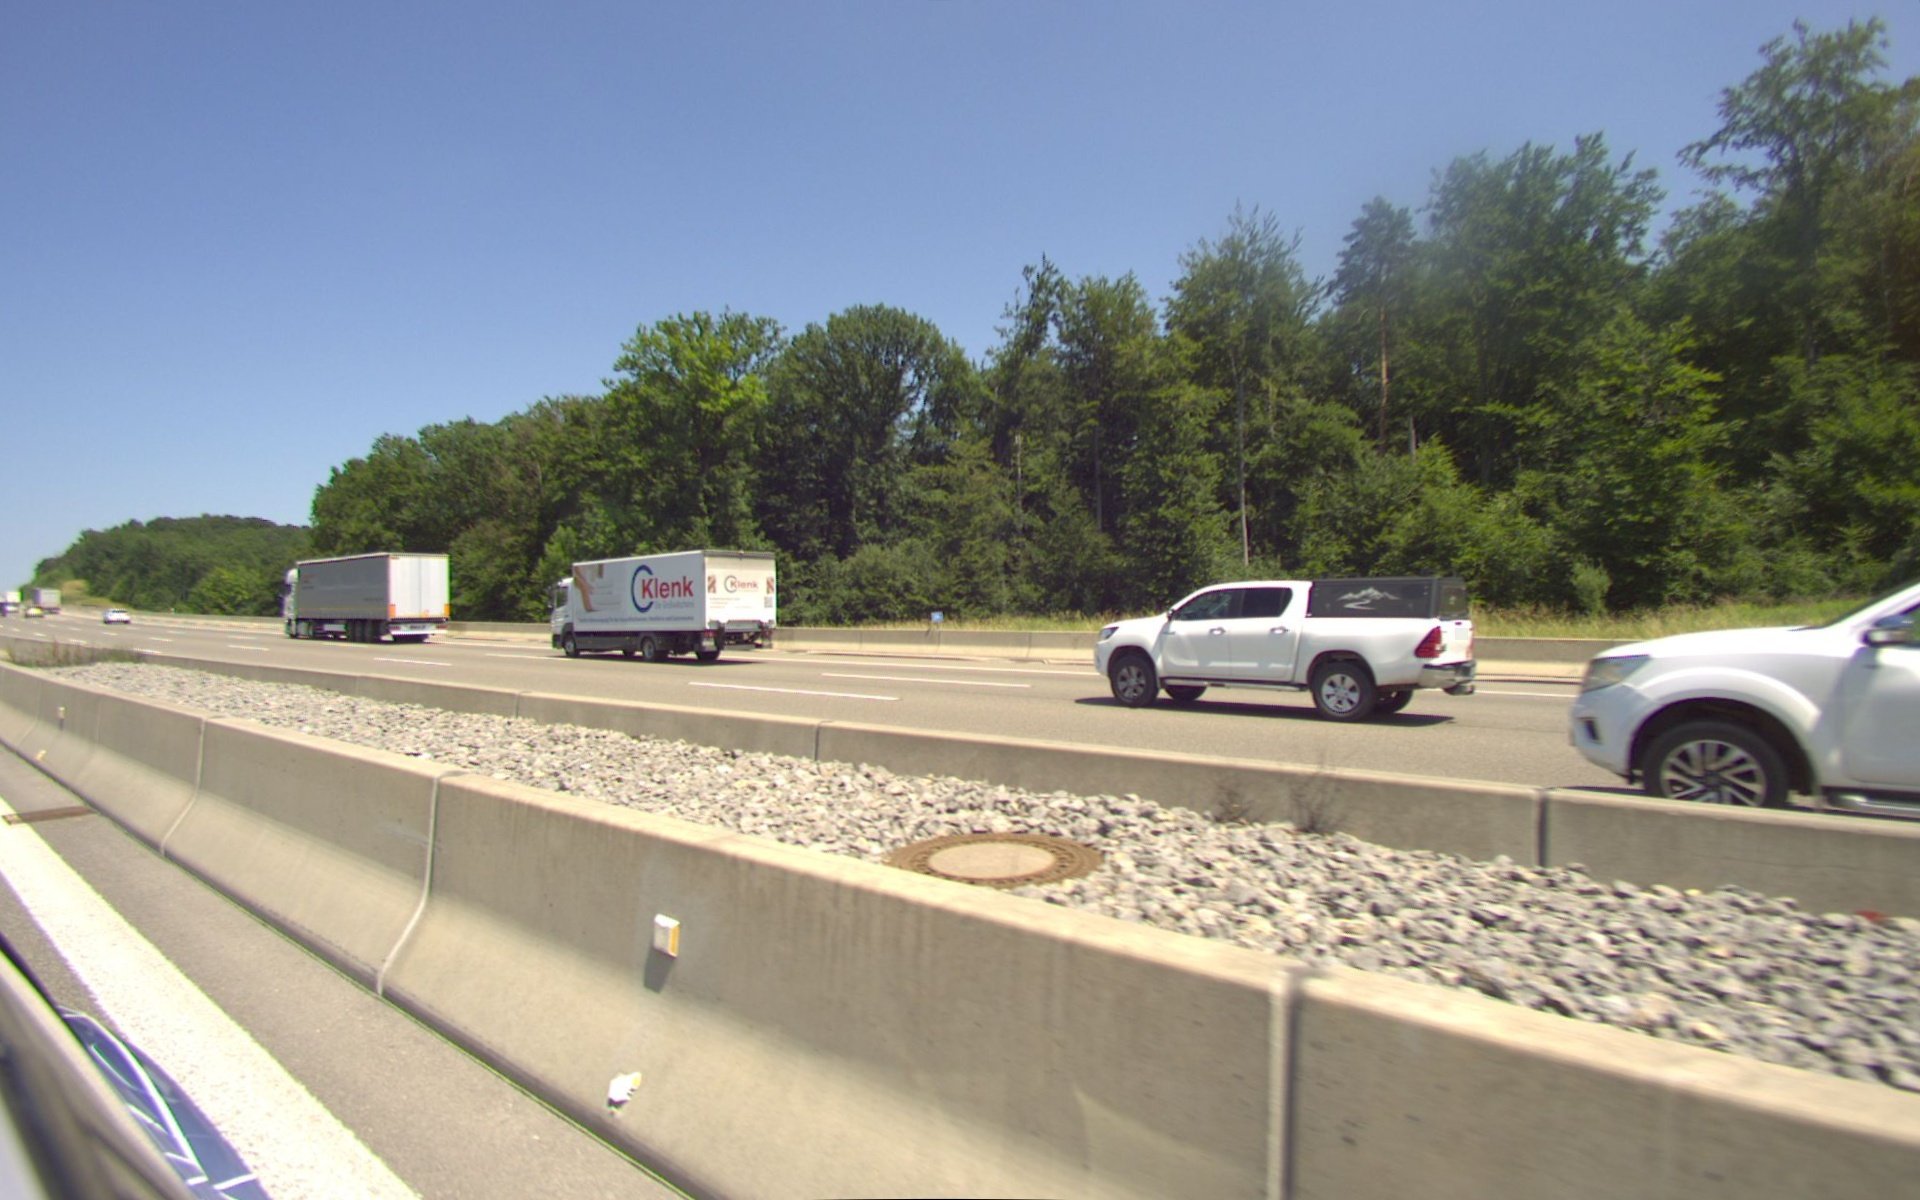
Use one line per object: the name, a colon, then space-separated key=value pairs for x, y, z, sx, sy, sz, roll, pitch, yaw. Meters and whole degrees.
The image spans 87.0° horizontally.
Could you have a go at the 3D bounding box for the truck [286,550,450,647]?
truck: x=-29.429 y=0.020 z=49.767 sx=14.505 sy=4.209 sz=2.728 roll=-1 pitch=0 yaw=42

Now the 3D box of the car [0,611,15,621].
car: x=-155.701 y=2.636 z=165.142 sx=4.136 sy=1.546 sz=1.852 roll=0 pitch=2 yaw=43

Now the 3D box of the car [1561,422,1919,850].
car: x=6.712 y=0.170 z=5.394 sx=5.762 sy=2.306 sz=1.973 roll=-1 pitch=-1 yaw=41

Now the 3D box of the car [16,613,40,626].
car: x=-118.093 y=2.508 z=128.244 sx=4.813 sy=1.546 sz=1.852 roll=0 pitch=0 yaw=43

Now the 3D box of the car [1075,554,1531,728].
car: x=4.548 y=0.499 z=14.190 sx=5.735 sy=1.985 sz=1.973 roll=-1 pitch=0 yaw=41

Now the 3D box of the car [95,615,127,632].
car: x=-82.869 y=2.290 z=98.753 sx=4.813 sy=1.491 sz=1.852 roll=0 pitch=1 yaw=43

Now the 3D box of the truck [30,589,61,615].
truck: x=-146.425 y=0.340 z=162.028 sx=14.301 sy=4.056 sz=2.660 roll=0 pitch=0 yaw=44

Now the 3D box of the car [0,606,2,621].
car: x=-129.008 y=1.848 z=134.738 sx=5.775 sy=1.954 sz=1.852 roll=0 pitch=0 yaw=43

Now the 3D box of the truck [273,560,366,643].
truck: x=-34.341 y=0.110 z=54.170 sx=6.230 sy=4.209 sz=2.653 roll=-1 pitch=0 yaw=42

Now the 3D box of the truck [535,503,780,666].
truck: x=-9.376 y=-0.354 z=30.411 sx=9.618 sy=4.209 sz=2.504 roll=-1 pitch=0 yaw=43
